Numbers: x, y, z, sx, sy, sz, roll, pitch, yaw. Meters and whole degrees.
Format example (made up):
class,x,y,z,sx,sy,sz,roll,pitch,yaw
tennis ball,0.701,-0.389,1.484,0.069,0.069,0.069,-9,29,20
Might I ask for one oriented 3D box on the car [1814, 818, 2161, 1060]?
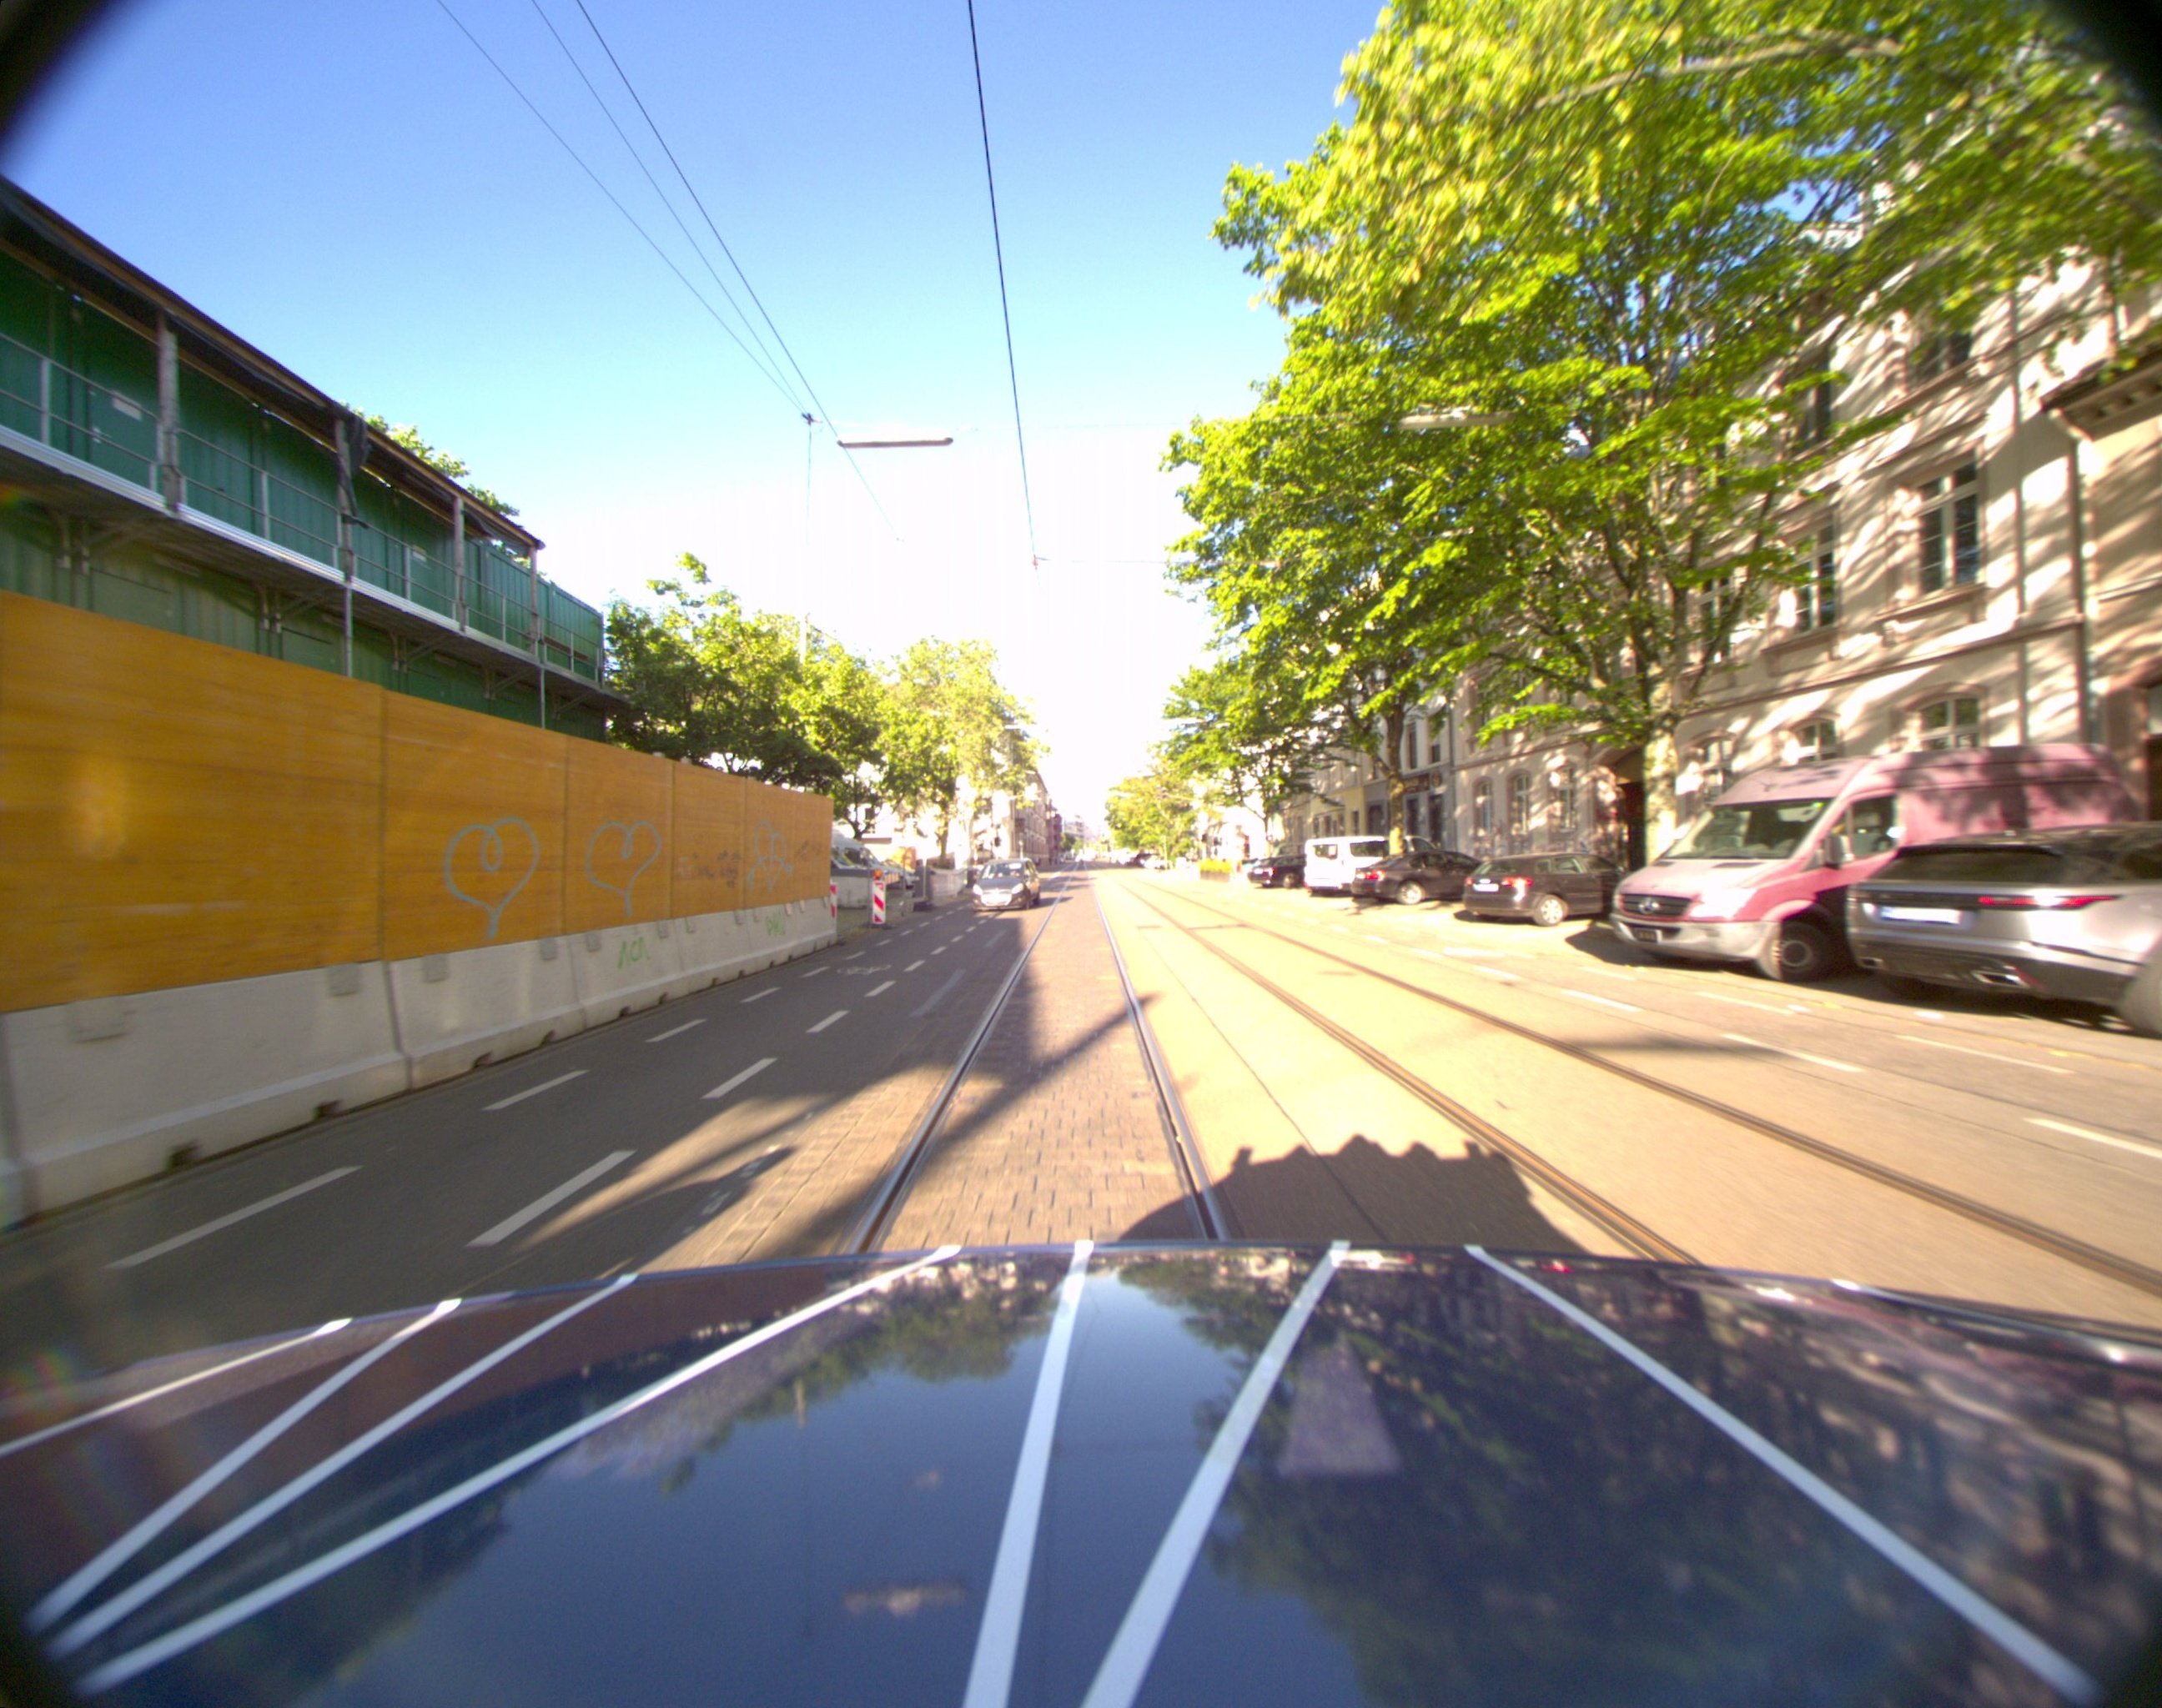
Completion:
class,x,y,z,sx,sy,sz,roll,pitch,yaw
car,9.811,0.534,6.618,4.842,1.714,2.163,-2,0,-2

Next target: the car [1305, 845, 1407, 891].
class,x,y,z,sx,sy,sz,roll,pitch,yaw
car,10.314,0.525,28.531,3.343,1.445,1.494,-4,-1,-21

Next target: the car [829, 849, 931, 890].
class,x,y,z,sx,sy,sz,roll,pitch,yaw
car,-10.648,0.791,40.422,4.793,1.998,2.000,-2,1,4

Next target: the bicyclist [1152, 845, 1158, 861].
class,x,y,z,sx,sy,sz,roll,pitch,yaw
bicyclist,6.905,-0.083,71.015,0.419,1.462,0.590,-1,1,-3

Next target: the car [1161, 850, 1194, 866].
class,x,y,z,sx,sy,sz,roll,pitch,yaw
car,9.896,0.397,77.887,3.336,1.445,1.496,-3,2,7

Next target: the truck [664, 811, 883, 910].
class,x,y,z,sx,sy,sz,roll,pitch,yaw
truck,-11.256,0.227,28.276,7.093,3.399,2.371,-1,1,-1

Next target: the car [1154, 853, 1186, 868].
class,x,y,z,sx,sy,sz,roll,pitch,yaw
car,9.687,0.692,82.828,3.337,1.445,1.496,-3,2,2

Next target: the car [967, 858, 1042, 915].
class,x,y,z,sx,sy,sz,roll,pitch,yaw
car,-2.364,0.972,24.502,1.749,1.612,4.170,-2,0,2

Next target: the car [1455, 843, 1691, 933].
class,x,y,z,sx,sy,sz,roll,pitch,yaw
car,9.946,0.624,15.418,4.101,1.445,1.668,-4,1,-15

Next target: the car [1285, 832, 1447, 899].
class,x,y,z,sx,sy,sz,roll,pitch,yaw
car,9.512,0.331,25.349,4.946,2.002,2.071,-2,0,-23

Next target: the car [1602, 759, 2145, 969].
class,x,y,z,sx,sy,sz,roll,pitch,yaw
car,9.371,0.095,9.322,4.448,2.105,2.163,-2,0,-2

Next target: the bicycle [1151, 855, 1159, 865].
class,x,y,z,sx,sy,sz,roll,pitch,yaw
bicycle,6.900,0.541,71.071,0.451,0.930,1.757,-1,0,-4

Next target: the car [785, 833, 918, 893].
class,x,y,z,sx,sy,sz,roll,pitch,yaw
car,-10.214,0.387,34.128,5.336,2.547,2.013,-1,1,-1

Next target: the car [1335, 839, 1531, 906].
class,x,y,z,sx,sy,sz,roll,pitch,yaw
car,10.010,0.509,21.836,4.708,1.567,1.953,-3,0,-4

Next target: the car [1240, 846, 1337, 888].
class,x,y,z,sx,sy,sz,roll,pitch,yaw
car,9.209,0.549,33.732,4.005,1.549,1.777,-4,1,-30

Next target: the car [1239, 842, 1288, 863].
class,x,y,z,sx,sy,sz,roll,pitch,yaw
car,15.942,-0.111,66.411,3.994,1.740,2.001,-1,0,9

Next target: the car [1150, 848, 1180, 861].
class,x,y,z,sx,sy,sz,roll,pitch,yaw
car,9.734,0.077,88.111,3.337,1.445,1.496,-2,0,2

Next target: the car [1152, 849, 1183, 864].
class,x,y,z,sx,sy,sz,roll,pitch,yaw
car,9.741,0.243,85.668,3.337,1.445,1.496,-3,2,2
